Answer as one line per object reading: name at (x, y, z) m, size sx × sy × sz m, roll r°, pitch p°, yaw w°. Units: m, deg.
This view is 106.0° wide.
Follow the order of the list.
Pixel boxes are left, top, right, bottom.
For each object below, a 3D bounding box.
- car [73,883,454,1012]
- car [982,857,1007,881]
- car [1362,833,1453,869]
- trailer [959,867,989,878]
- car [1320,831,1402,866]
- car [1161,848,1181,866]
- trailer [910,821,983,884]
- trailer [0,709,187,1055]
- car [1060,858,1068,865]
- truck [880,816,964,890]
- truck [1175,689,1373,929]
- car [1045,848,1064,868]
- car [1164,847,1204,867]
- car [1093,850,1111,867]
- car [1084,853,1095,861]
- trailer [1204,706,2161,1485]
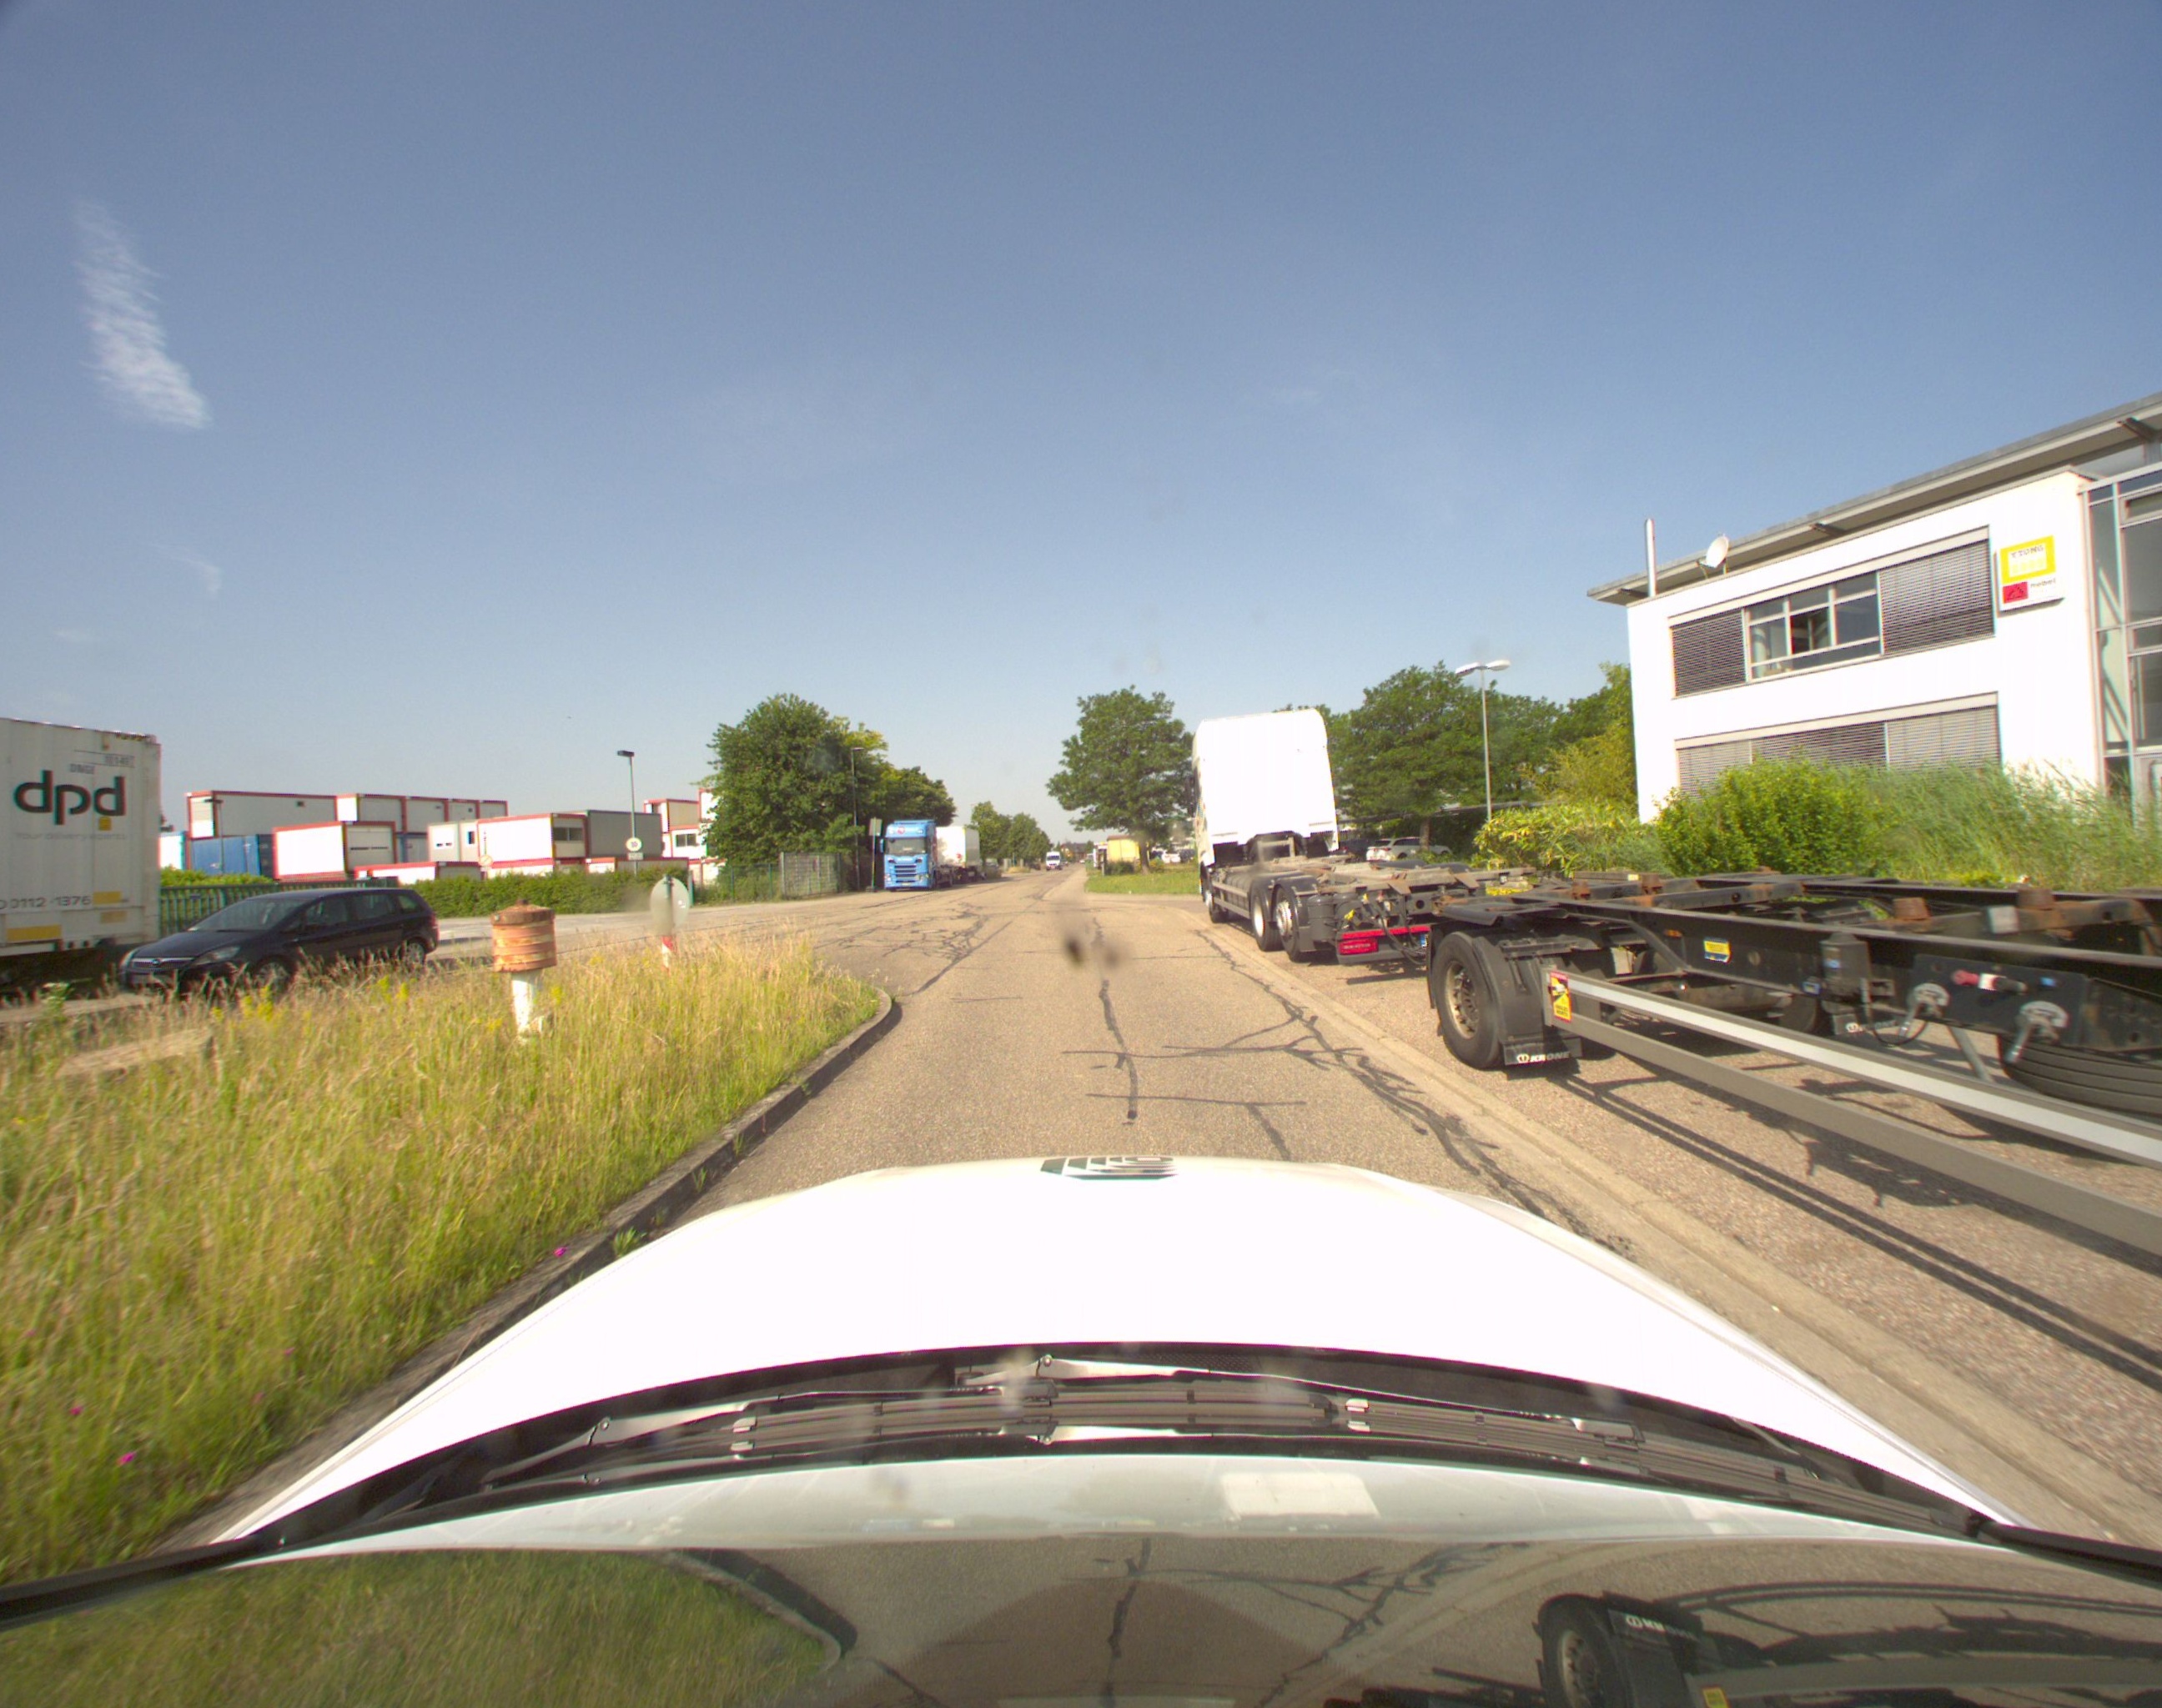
car at (-13.650, 1.443, 14.141) m, size 1.988 × 1.641 × 4.585 m, roll -2°, pitch 0°, yaw -1°
car at (-7.819, 1.354, 73.373) m, size 1.993 × 2.013 × 3.987 m, roll -3°, pitch 0°, yaw -9°
car at (16.280, -0.146, 40.573) m, size 4.089 × 1.701 × 1.753 m, roll -1°, pitch -1°, yaw -21°
trailer at (-8.577, 1.465, 65.736) m, size 1.890 × 0.760 × 3.999 m, roll -3°, pitch 0°, yaw 0°
car at (14.989, -0.299, 43.586) m, size 4.012 × 1.767 × 1.980 m, roll 0°, pitch -2°, yaw -30°
car at (8.710, 0.283, 79.242) m, size 1.710 × 1.618 × 4.004 m, roll -1°, pitch -1°, yaw 4°
trailer at (-8.948, 0.026, 55.753) m, size 2.821 × 3.843 × 12.035 m, roll -1°, pitch -1°, yaw 1°
trailer at (-13.588, 0.300, 7.311) m, size 2.691 × 3.922 × 7.574 m, roll -1°, pitch -1°, yaw 0°
car at (-4.046, 1.718, 194.137) m, size 1.637 × 1.662 × 3.992 m, roll -1°, pitch -1°, yaw -5°
truck at (-9.024, 0.031, 47.478) m, size 2.816 × 3.826 × 9.672 m, roll -1°, pitch -1°, yaw 1°
truck at (3.649, -0.793, 16.409) m, size 2.736 × 3.981 × 4.001 m, roll -6°, pitch 0°, yaw 1°
car at (-3.705, 0.583, 112.174) m, size 2.211 × 2.686 × 6.839 m, roll -1°, pitch -1°, yaw -5°
car at (7.626, 0.232, 60.573) m, size 1.671 × 1.330 × 3.643 m, roll -1°, pitch -1°, yaw -16°
car at (2.235, 0.555, 87.990) m, size 1.786 × 1.750 × 3.999 m, roll -1°, pitch -1°, yaw 0°
car at (1.931, 0.682, 189.854) m, size 1.770 × 1.815 × 3.987 m, roll -1°, pitch -1°, yaw -9°
trailer at (3.608, 0.396, 7.339) m, size 2.736 × 1.574 × 16.174 m, roll -5°, pitch 0°, yaw 1°
